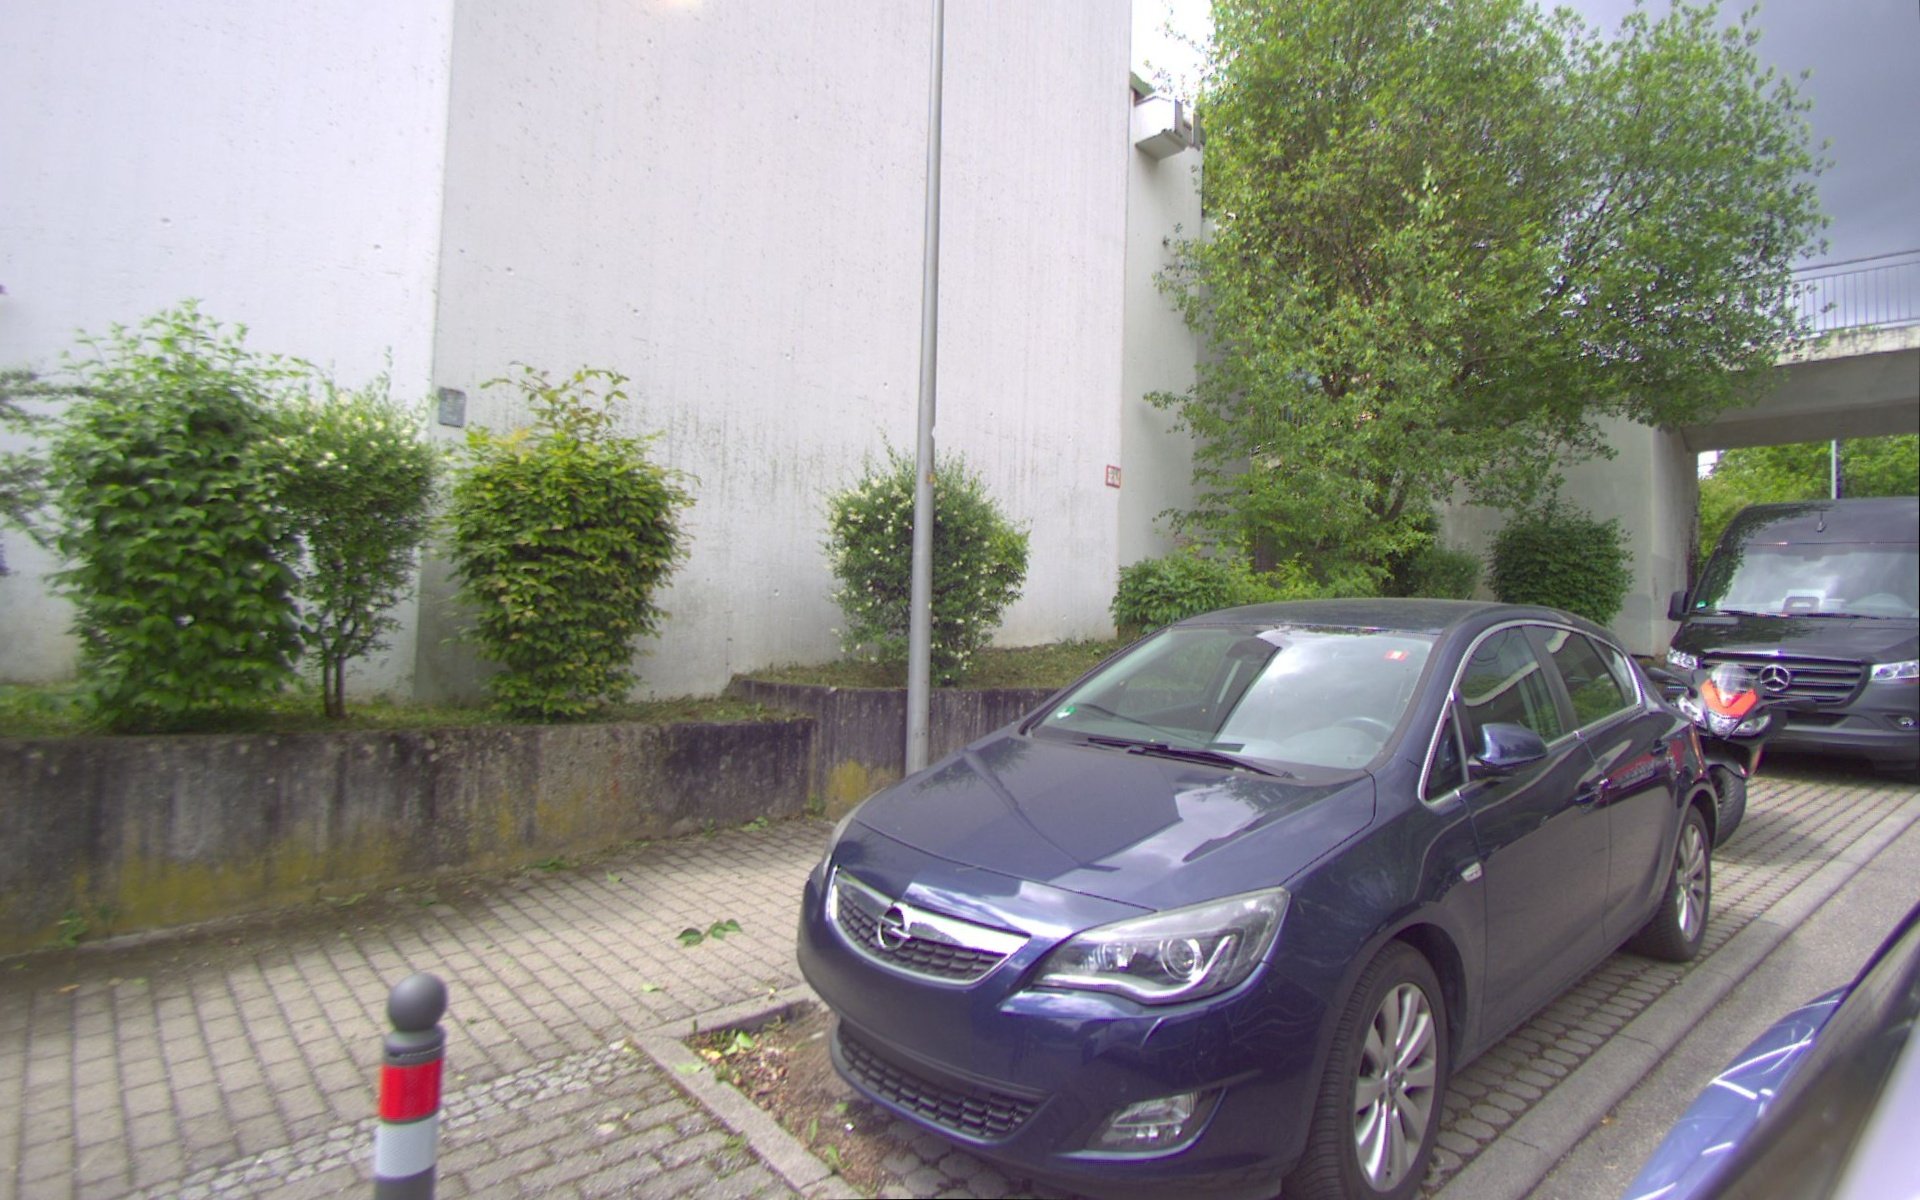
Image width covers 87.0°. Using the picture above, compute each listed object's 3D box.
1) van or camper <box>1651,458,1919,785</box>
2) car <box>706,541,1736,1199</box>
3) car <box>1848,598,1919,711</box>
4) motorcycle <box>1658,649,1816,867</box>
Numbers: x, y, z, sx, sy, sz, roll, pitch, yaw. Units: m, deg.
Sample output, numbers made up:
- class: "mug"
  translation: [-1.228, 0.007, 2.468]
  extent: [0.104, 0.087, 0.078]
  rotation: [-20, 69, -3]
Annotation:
- class: "van or camper"
  translation: [9.102, 0.149, 10.218]
  extent: [5.654, 2.527, 1.998]
  rotation: [0, 0, -39]
- class: "car"
  translation: [1.278, 0.618, 3.659]
  extent: [3.930, 1.438, 1.694]
  rotation: [1, 0, -41]
- class: "car"
  translation: [14.005, 0.708, 14.324]
  extent: [3.655, 1.468, 1.586]
  rotation: [0, 0, -39]
- class: "motorcycle"
  translation: [4.977, 0.907, 6.492]
  extent: [0.706, 1.081, 1.904]
  rotation: [0, 0, 38]
